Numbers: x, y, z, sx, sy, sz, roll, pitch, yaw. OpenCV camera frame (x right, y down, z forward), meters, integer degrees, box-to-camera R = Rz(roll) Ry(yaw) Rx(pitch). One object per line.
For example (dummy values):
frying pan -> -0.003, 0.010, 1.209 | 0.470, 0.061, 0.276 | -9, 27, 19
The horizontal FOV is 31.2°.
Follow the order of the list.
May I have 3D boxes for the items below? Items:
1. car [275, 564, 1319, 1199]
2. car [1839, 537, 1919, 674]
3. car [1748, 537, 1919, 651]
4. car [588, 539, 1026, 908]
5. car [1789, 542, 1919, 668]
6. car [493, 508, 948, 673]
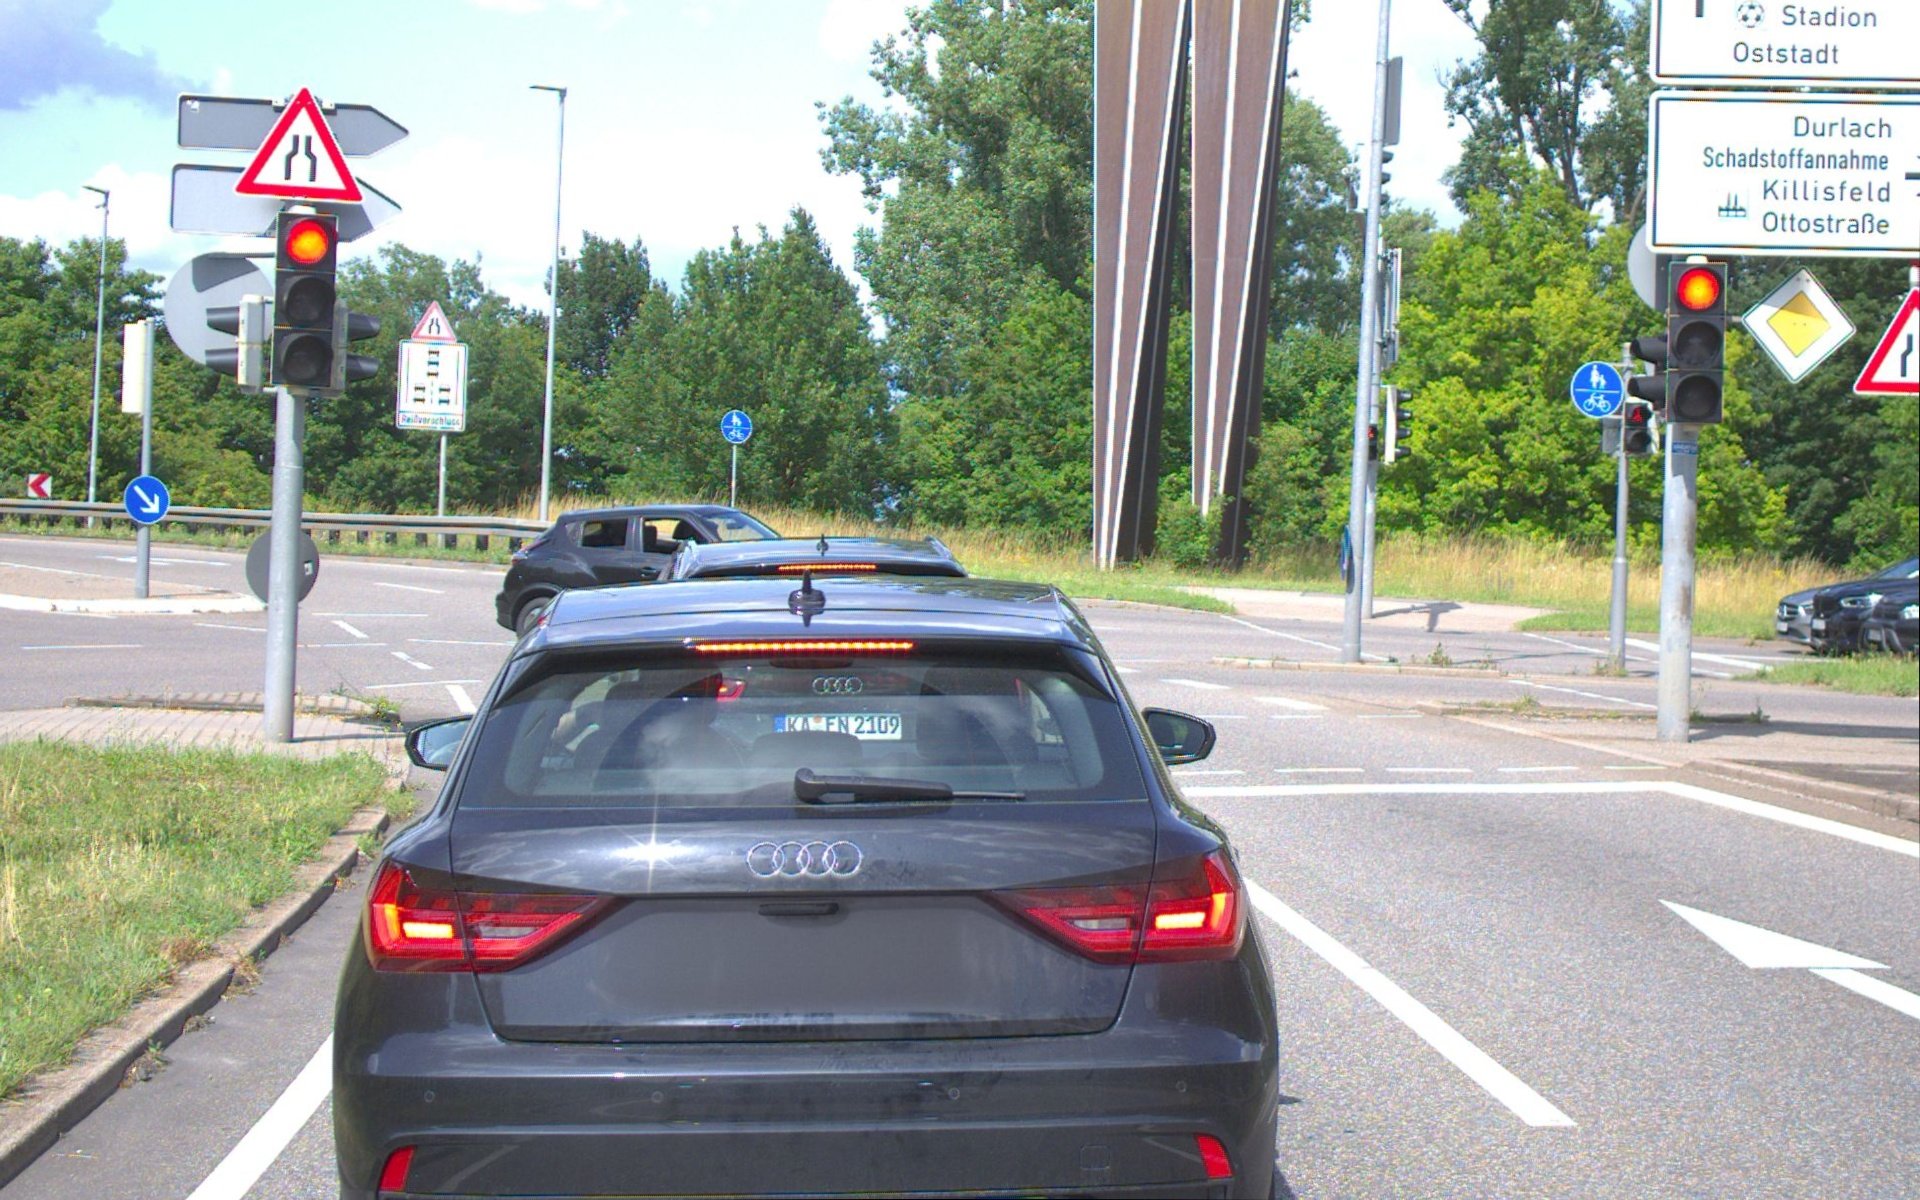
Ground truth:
car -> -0.291, 0.653, 7.699 | 1.726, 1.399, 4.000 | 0, 1, -1
car -> 12.624, 0.105, 40.049 | 4.268, 1.539, 1.737 | 2, 1, -1
car -> 13.263, -0.066, 47.800 | 4.106, 1.491, 2.000 | 2, 1, 1
car -> -0.758, 0.449, 15.497 | 1.726, 1.418, 3.845 | 0, 1, -5
car -> 13.248, 0.102, 43.903 | 4.847, 1.539, 1.737 | 2, 1, -1
car -> -2.346, -0.114, 33.774 | 3.962, 1.413, 1.951 | 3, 1, 23
